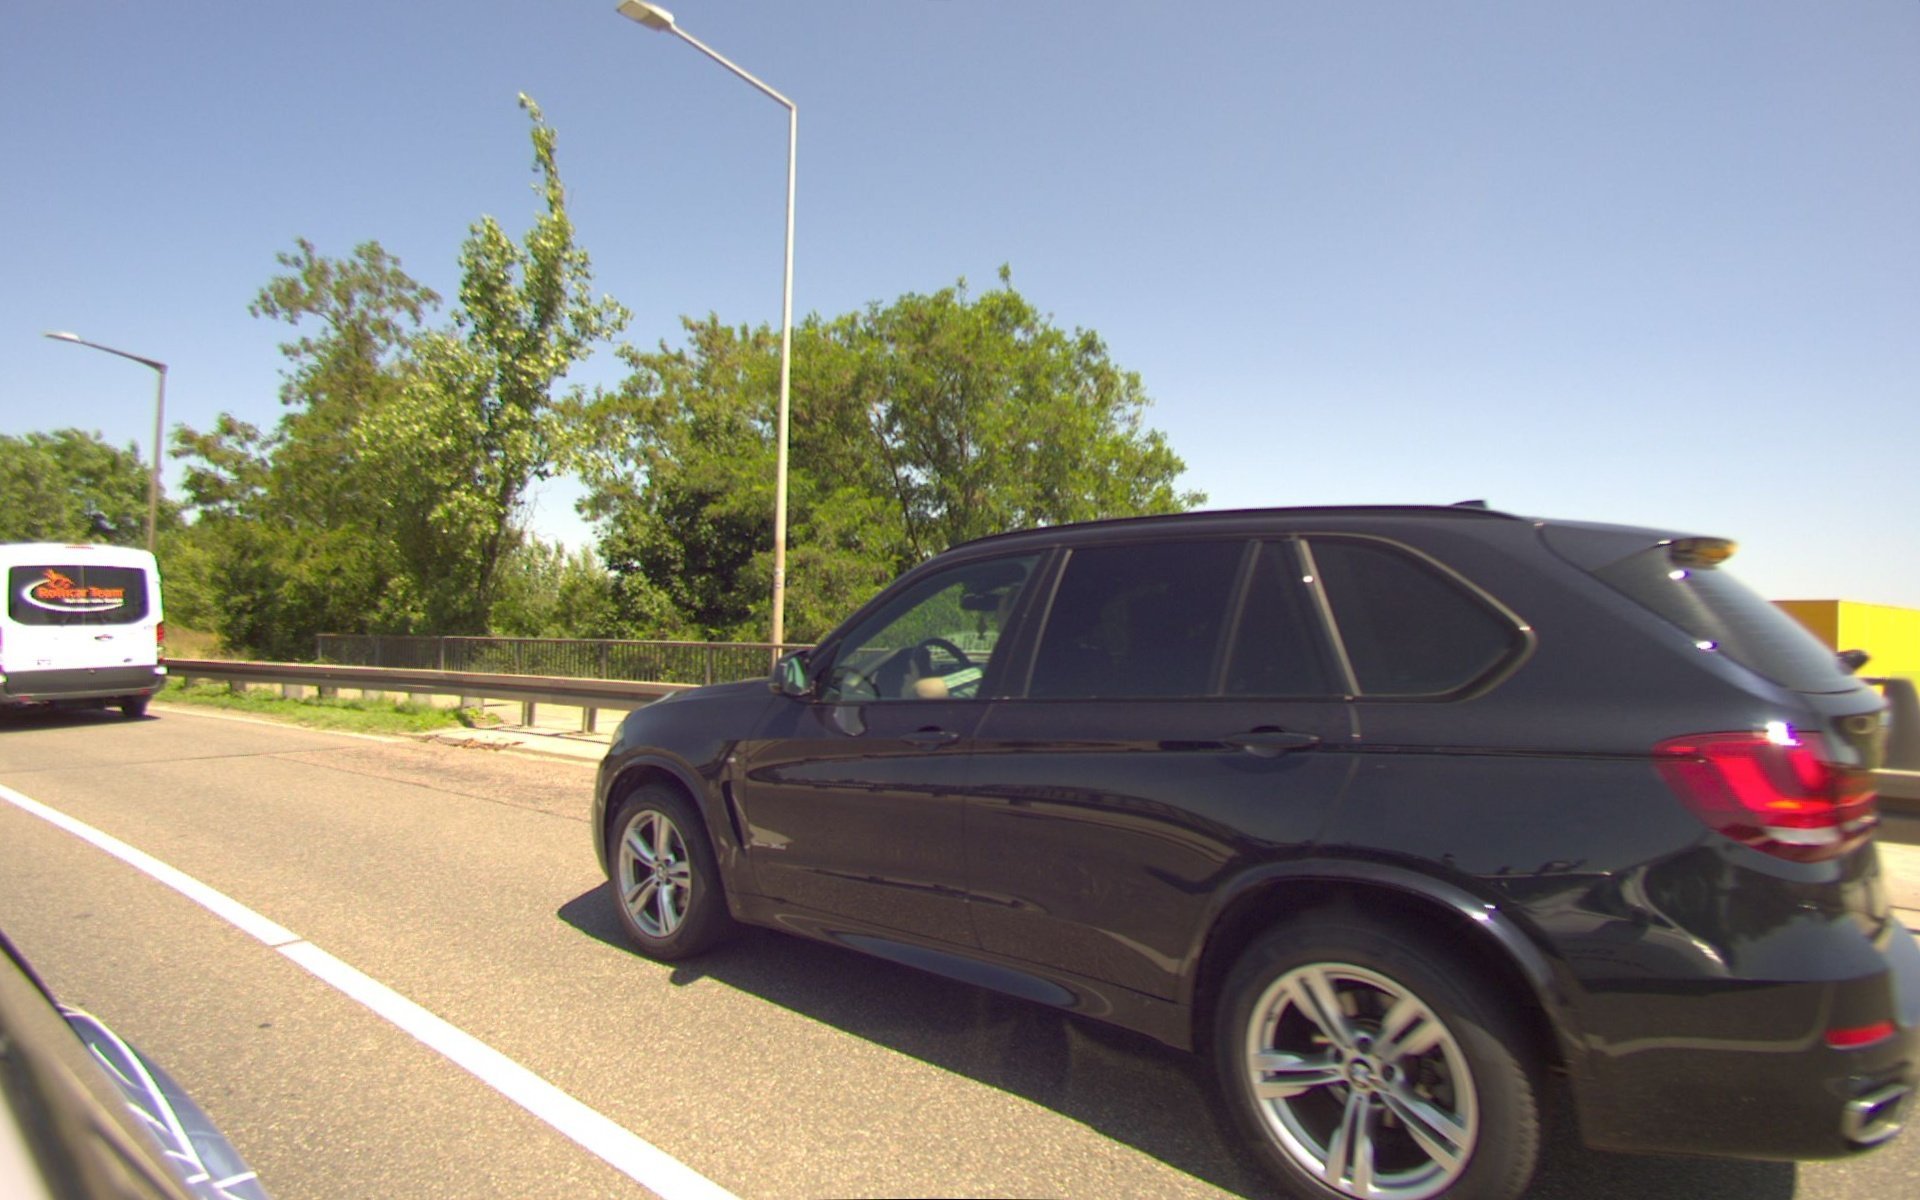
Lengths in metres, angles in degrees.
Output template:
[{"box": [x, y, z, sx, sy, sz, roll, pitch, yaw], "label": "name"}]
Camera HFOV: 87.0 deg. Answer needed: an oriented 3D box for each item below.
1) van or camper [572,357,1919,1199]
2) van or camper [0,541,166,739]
[{"box": [0.690, 0.528, 3.706, 4.696, 1.774, 1.972, 0, -2, 41], "label": "van or camper"}, {"box": [-14.376, 0.595, 15.377, 5.869, 2.557, 2.030, -2, -2, 35], "label": "van or camper"}]
